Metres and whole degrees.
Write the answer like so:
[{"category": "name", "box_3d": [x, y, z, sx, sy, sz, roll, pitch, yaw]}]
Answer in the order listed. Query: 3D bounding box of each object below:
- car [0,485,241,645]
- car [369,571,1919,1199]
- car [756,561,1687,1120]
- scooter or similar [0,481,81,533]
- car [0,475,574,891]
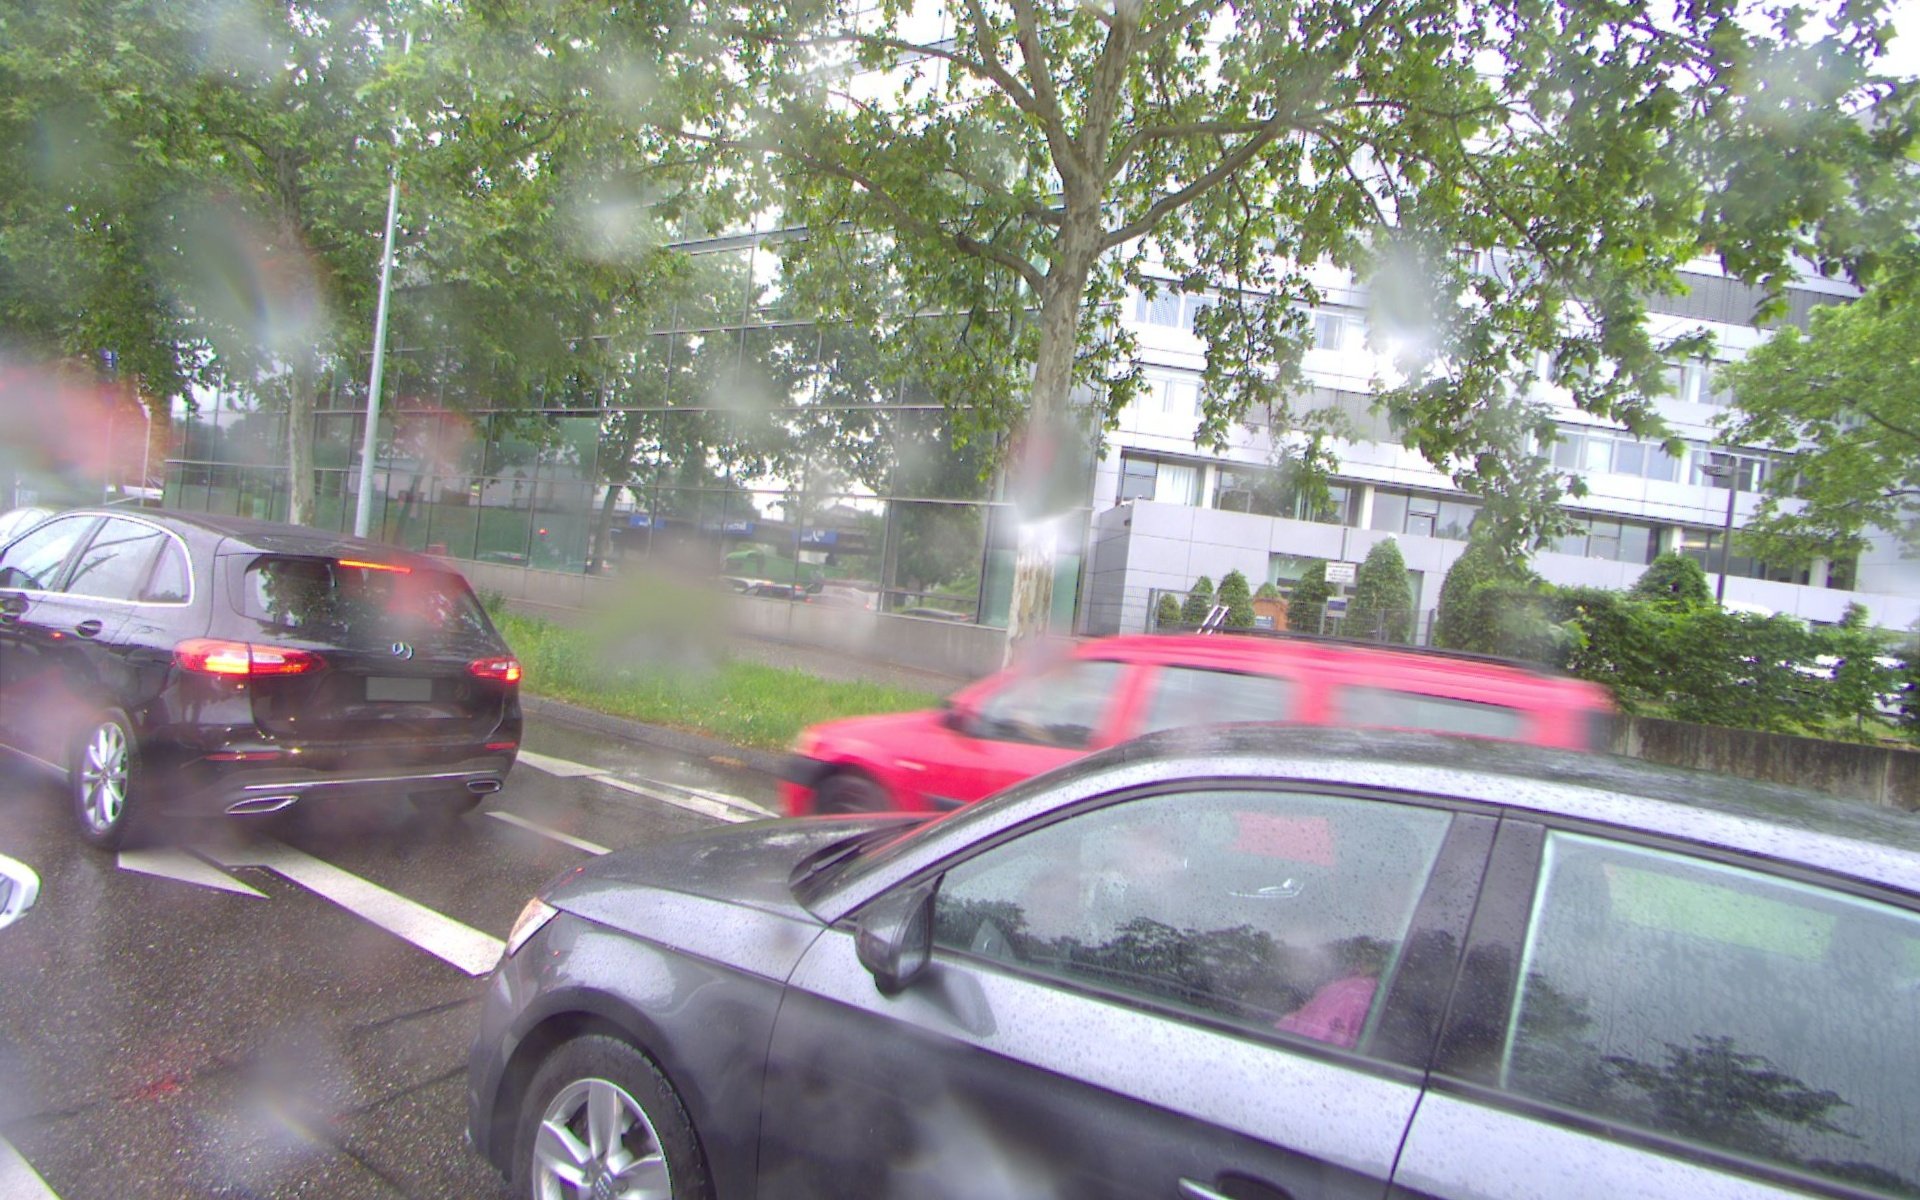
[{"category": "car", "box_3d": [-11.741, -0.536, 13.494, 3.933, 1.631, 1.880, 7, -2, 32]}, {"category": "car", "box_3d": [0.705, 0.910, 2.095, 3.718, 1.445, 1.679, 7, -1, 31]}, {"category": "car", "box_3d": [1.146, 0.895, 5.412, 4.201, 1.714, 1.714, 6, -2, 31]}, {"category": "scooter or similar", "box_3d": [-54.529, -5.510, 58.147, 5.228, 2.476, 1.893, 7, 0, -9]}, {"category": "car", "box_3d": [-4.345, 0.244, 5.758, 4.022, 1.573, 1.751, 7, -1, 31]}]
